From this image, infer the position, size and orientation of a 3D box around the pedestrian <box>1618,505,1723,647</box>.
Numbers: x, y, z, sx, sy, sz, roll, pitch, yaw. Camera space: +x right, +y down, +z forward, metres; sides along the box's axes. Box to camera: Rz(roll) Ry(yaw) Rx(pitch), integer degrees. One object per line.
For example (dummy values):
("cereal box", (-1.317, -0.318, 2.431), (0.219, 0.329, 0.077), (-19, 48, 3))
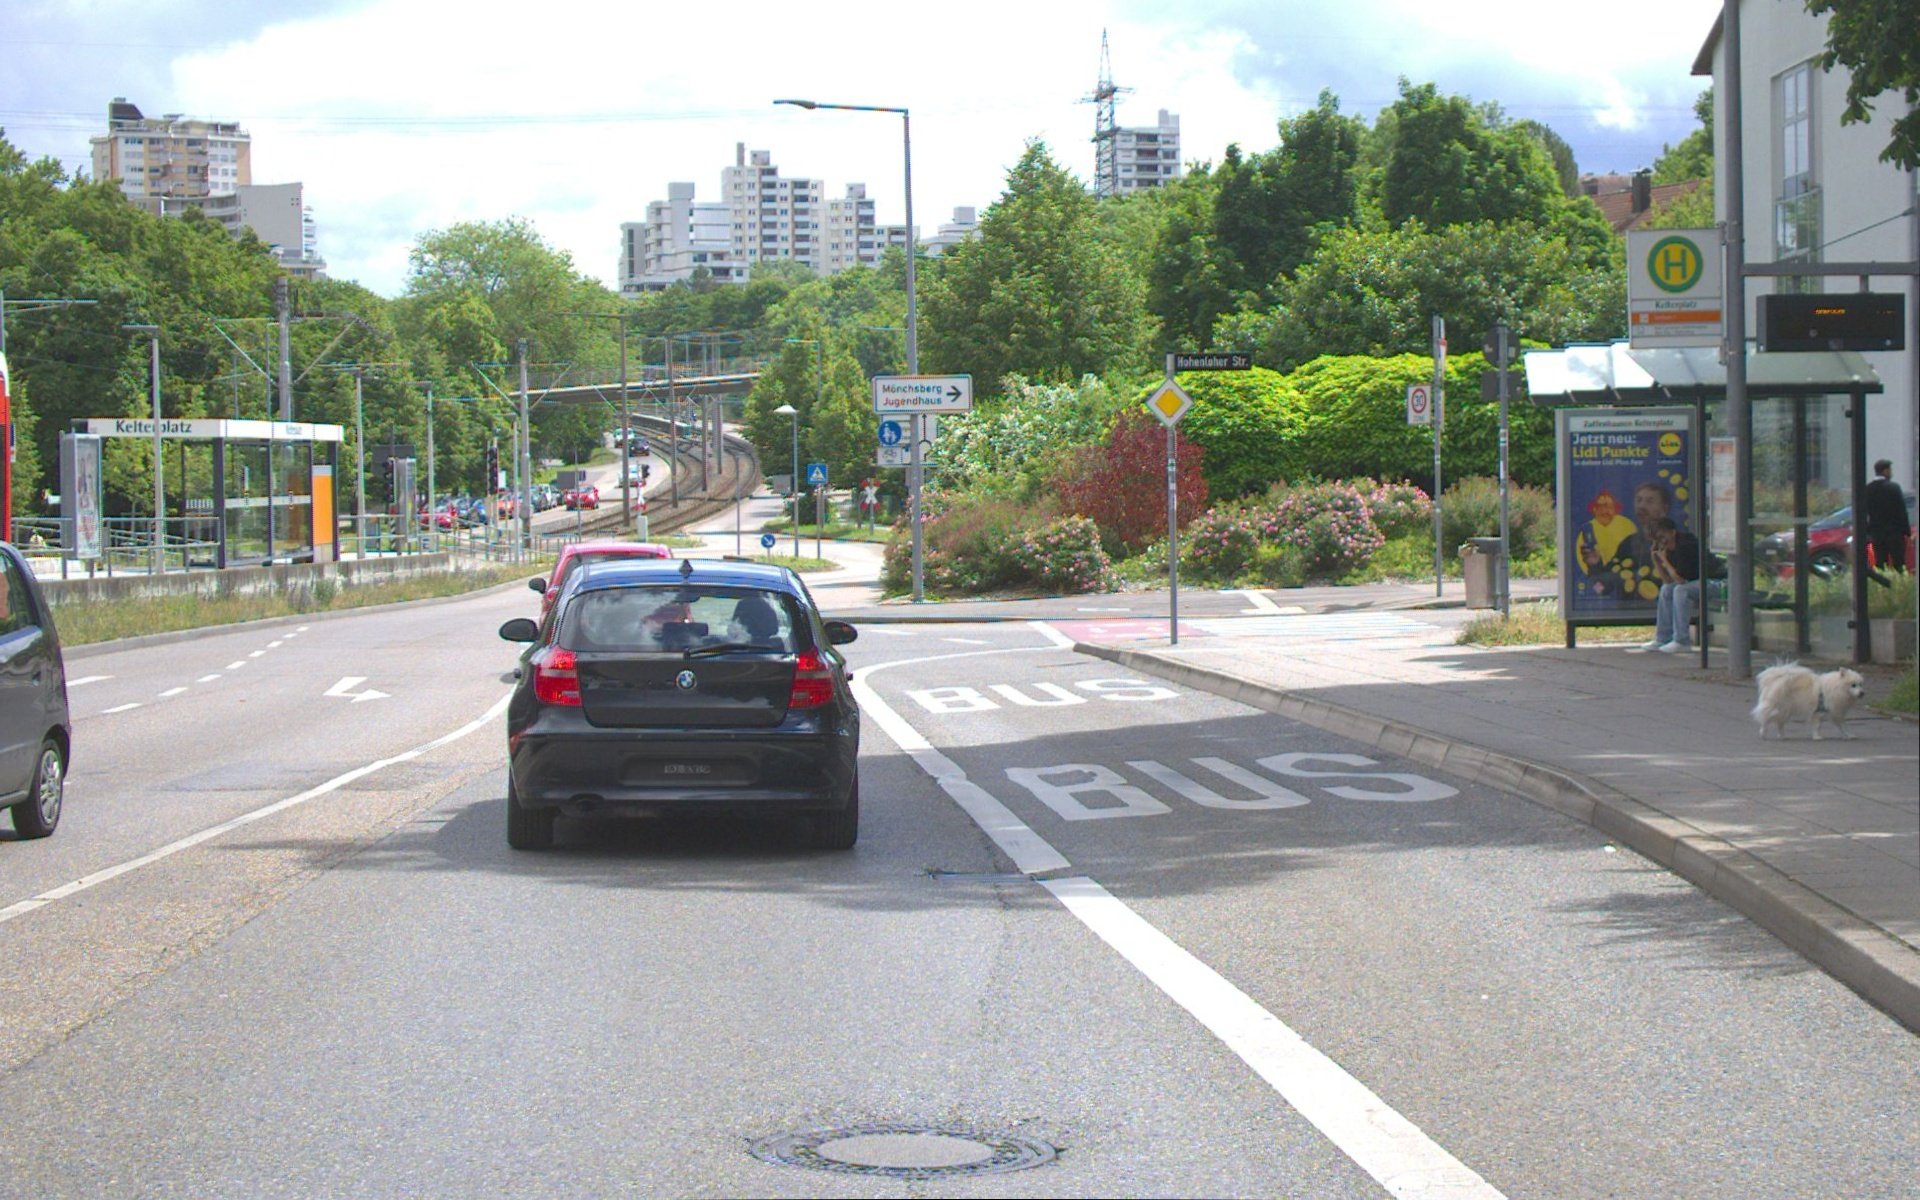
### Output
("pedestrian", (6.468, -0.224, 31.300), (0.827, 1.254, 0.686), (-1, 2, 3))

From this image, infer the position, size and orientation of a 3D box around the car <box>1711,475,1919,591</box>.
("car", (13.500, -1.028, 51.113), (4.155, 1.556, 2.001), (-1, 4, -4))

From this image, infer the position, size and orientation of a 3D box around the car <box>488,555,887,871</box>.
("car", (-1.368, 0.498, 18.020), (1.815, 1.416, 4.001), (-2, 1, -3))

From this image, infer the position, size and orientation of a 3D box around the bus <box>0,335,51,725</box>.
("bus", (-8.937, -0.494, 23.822), (2.726, 3.059, 8.963), (-1, 1, 1))

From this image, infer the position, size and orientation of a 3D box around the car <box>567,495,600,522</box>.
("car", (-21.723, -5.280, 198.452), (1.719, 1.497, 2.967), (-1, 2, -3))

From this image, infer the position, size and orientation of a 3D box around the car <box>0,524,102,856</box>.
("car", (-5.243, 0.414, 16.066), (1.529, 1.545, 3.733), (1, 1, 0))

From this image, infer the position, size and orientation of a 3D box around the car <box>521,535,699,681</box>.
("car", (-3.735, 0.044, 36.845), (1.765, 1.427, 3.479), (-2, 1, -5))
